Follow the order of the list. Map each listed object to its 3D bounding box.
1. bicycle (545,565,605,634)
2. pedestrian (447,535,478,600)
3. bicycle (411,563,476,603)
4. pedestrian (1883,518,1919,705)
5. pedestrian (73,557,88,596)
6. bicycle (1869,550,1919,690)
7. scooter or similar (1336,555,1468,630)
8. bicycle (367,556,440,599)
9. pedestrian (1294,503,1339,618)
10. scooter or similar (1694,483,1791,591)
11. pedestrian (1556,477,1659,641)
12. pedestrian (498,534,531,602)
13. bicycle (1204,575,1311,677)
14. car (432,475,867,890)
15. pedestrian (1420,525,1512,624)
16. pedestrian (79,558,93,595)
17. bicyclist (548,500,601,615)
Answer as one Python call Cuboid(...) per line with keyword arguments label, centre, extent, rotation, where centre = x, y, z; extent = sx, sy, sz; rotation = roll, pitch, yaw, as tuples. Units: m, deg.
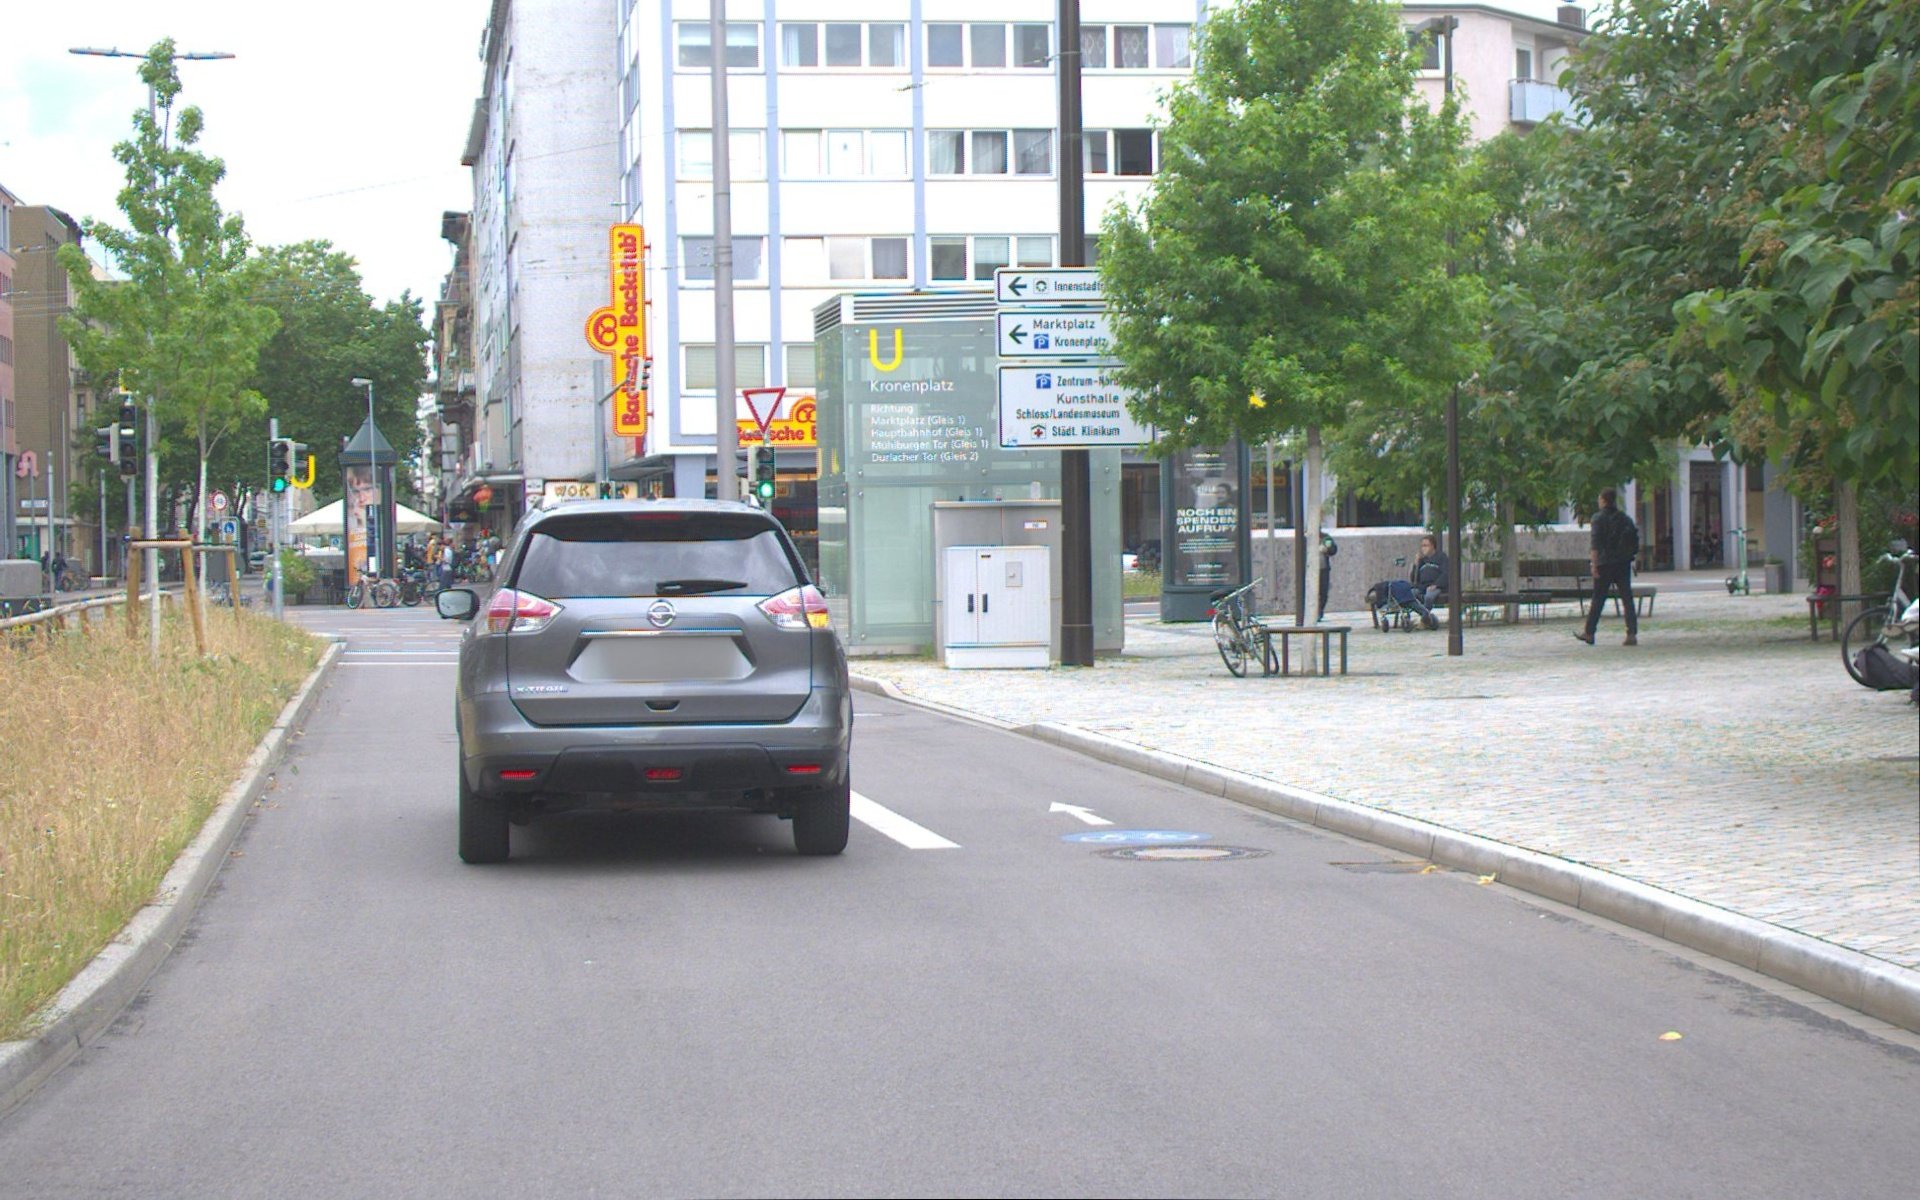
Cuboid(label="bicycle", centre=(-6.107, -0.027, 54.457), extent=(0.901, 1.041, 3.278), rotation=(-1, 1, -7))
Cuboid(label="pedestrian", centre=(-13.388, -0.881, 92.536), extent=(0.732, 1.740, 0.663), rotation=(0, 1, -17))
Cuboid(label="bicycle", centre=(-13.988, -0.455, 93.078), extent=(1.695, 1.062, 0.437), rotation=(0, 1, -24))
Cuboid(label="pedestrian", centre=(7.218, 0.080, 25.089), extent=(0.628, 1.361, 0.688), rotation=(0, 1, -28))
Cuboid(label="pedestrian", centre=(-38.583, -1.028, 150.867), extent=(0.600, 1.708, 0.656), rotation=(0, 1, -16))
Cuboid(label="bicycle", centre=(8.450, 0.127, 27.827), extent=(2.035, 1.107, 0.477), rotation=(-2, 1, 7))
Cuboid(label="scooter or similar", centre=(6.019, -0.106, 46.805), extent=(1.589, 0.945, 0.724), rotation=(-2, 1, 29))
Cuboid(label="bicycle", centre=(-15.052, -0.608, 92.947), extent=(1.867, 1.168, 0.531), rotation=(0, 1, -23))
Cuboid(label="pedestrian", centre=(5.490, -0.613, 52.927), extent=(0.671, 1.755, 0.641), rotation=(0, 1, 6))
Cuboid(label="scooter or similar", centre=(13.427, -1.085, 59.047), extent=(1.084, 1.800, 2.274), rotation=(-2, 1, -1))
Cuboid(label="pedestrian", centre=(7.370, -0.462, 39.156), extent=(0.713, 1.796, 1.078), rotation=(-4, 1, -10))
Cuboid(label="pedestrian", centre=(-12.017, -0.856, 92.719), extent=(0.712, 1.826, 1.017), rotation=(0, 1, -17))
Cuboid(label="bicycle", centre=(3.051, 0.253, 35.148), extent=(0.658, 0.975, 1.753), rotation=(-1, 1, 19))
Cuboid(label="car", centre=(-1.626, 0.287, 17.397), extent=(1.863, 1.768, 4.568), rotation=(-2, 2, -7))
Cuboid(label="pedestrian", centre=(6.867, -0.351, 46.689), extent=(1.044, 1.292, 0.733), rotation=(-3, 1, -4))
Cuboid(label="pedestrian", centre=(-40.911, -1.111, 160.923), extent=(0.600, 1.708, 0.656), rotation=(0, 1, -16))
Cuboid(label="bicyclist", centre=(-6.086, -0.670, 54.260), extent=(0.834, 1.806, 0.878), rotation=(0, 1, -7))
